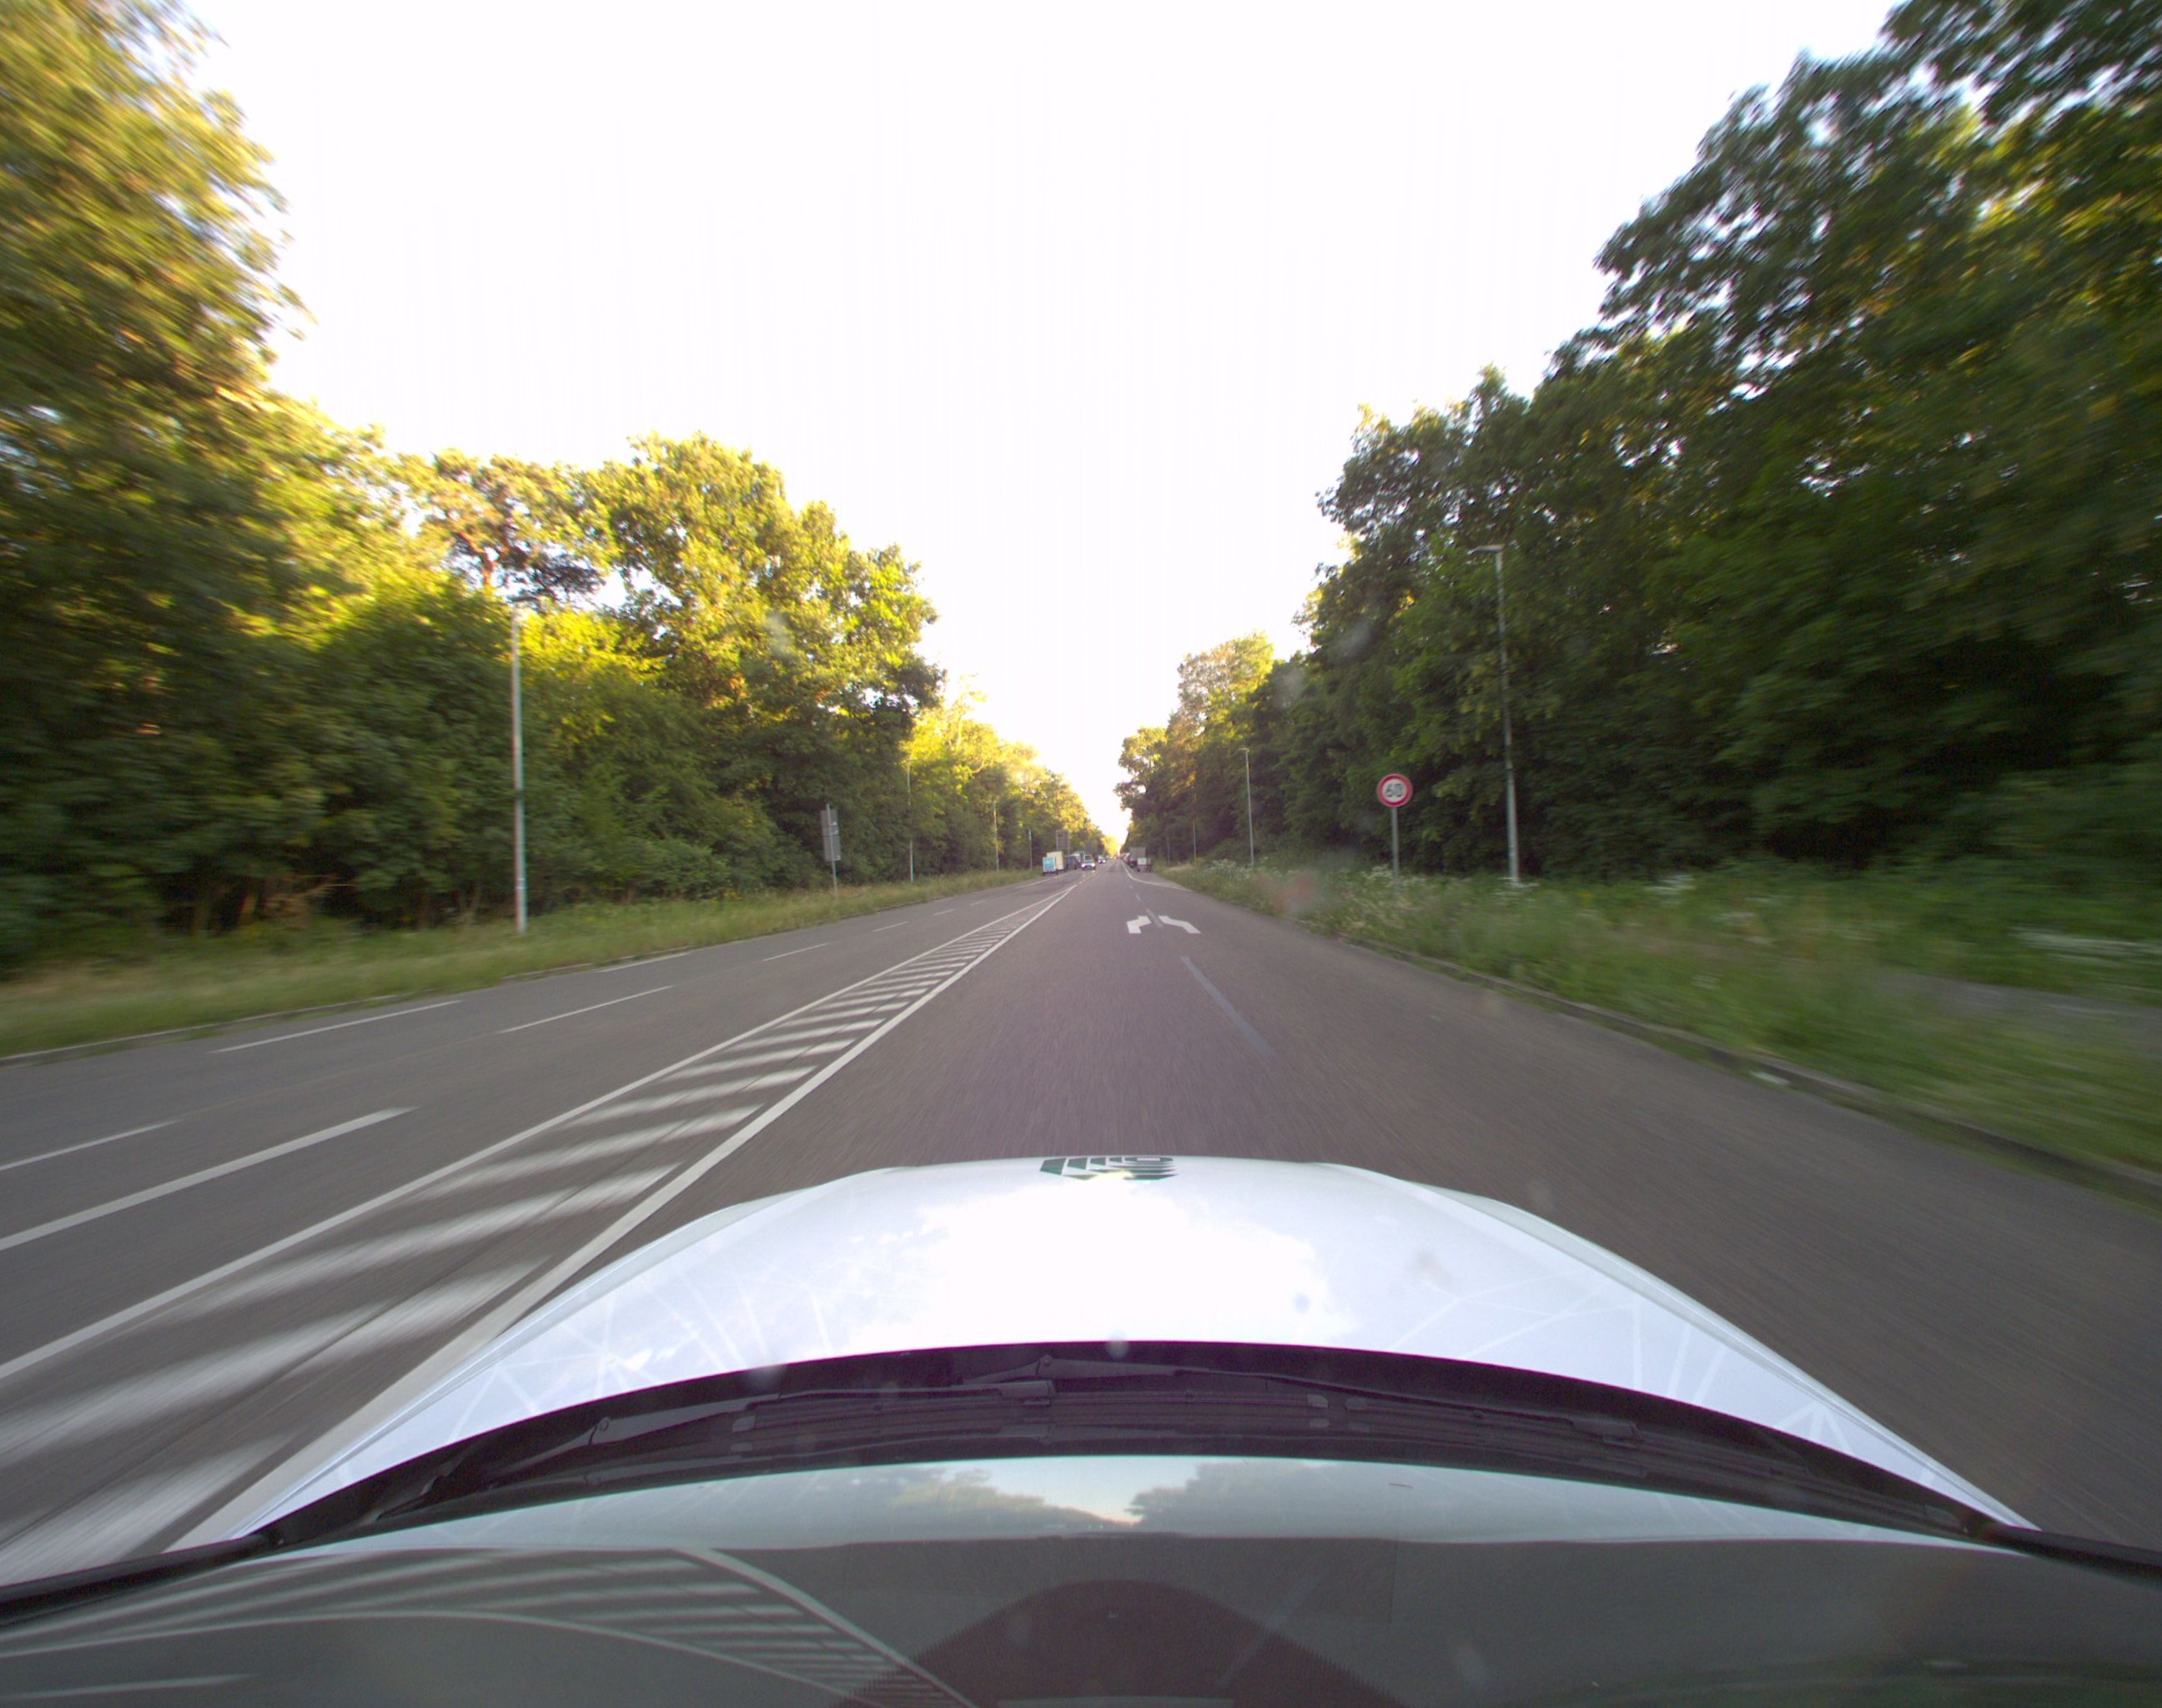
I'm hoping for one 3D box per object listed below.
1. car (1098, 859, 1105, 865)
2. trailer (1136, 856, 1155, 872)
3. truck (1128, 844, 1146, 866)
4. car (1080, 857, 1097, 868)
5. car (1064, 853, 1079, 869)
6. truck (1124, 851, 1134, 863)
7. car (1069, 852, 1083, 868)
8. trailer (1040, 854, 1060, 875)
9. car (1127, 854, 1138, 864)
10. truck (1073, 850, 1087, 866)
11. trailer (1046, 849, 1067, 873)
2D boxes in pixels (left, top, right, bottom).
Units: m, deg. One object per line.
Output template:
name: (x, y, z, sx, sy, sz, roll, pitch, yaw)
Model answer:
car: (5.684, 2.128, 226.263, 1.677, 1.486, 4.037, -3, 0, 0)
trailer: (7.340, 1.082, 92.309, 1.445, 1.662, 3.793, -3, 0, 16)
truck: (8.619, 0.174, 124.517, 2.577, 3.255, 7.228, -1, -1, 4)
car: (1.136, 1.243, 118.517, 2.054, 1.435, 4.472, -4, 0, 5)
car: (-1.538, 1.181, 134.608, 1.986, 2.364, 5.769, -5, 0, 2)
truck: (11.137, 0.750, 190.105, 2.134, 2.660, 4.299, -1, -1, 0)
car: (-0.889, 1.110, 151.134, 2.240, 2.647, 5.724, -4, 0, 2)
trailer: (-3.507, 1.158, 92.683, 1.810, 2.167, 4.144, -3, 0, 1)
car: (9.991, 0.980, 158.410, 1.987, 1.955, 4.299, -1, -1, 0)
truck: (-0.106, 0.853, 176.715, 2.494, 3.328, 6.845, -4, 0, 2)
trailer: (-3.228, 0.891, 108.301, 2.317, 2.924, 5.629, -5, 0, 2)
